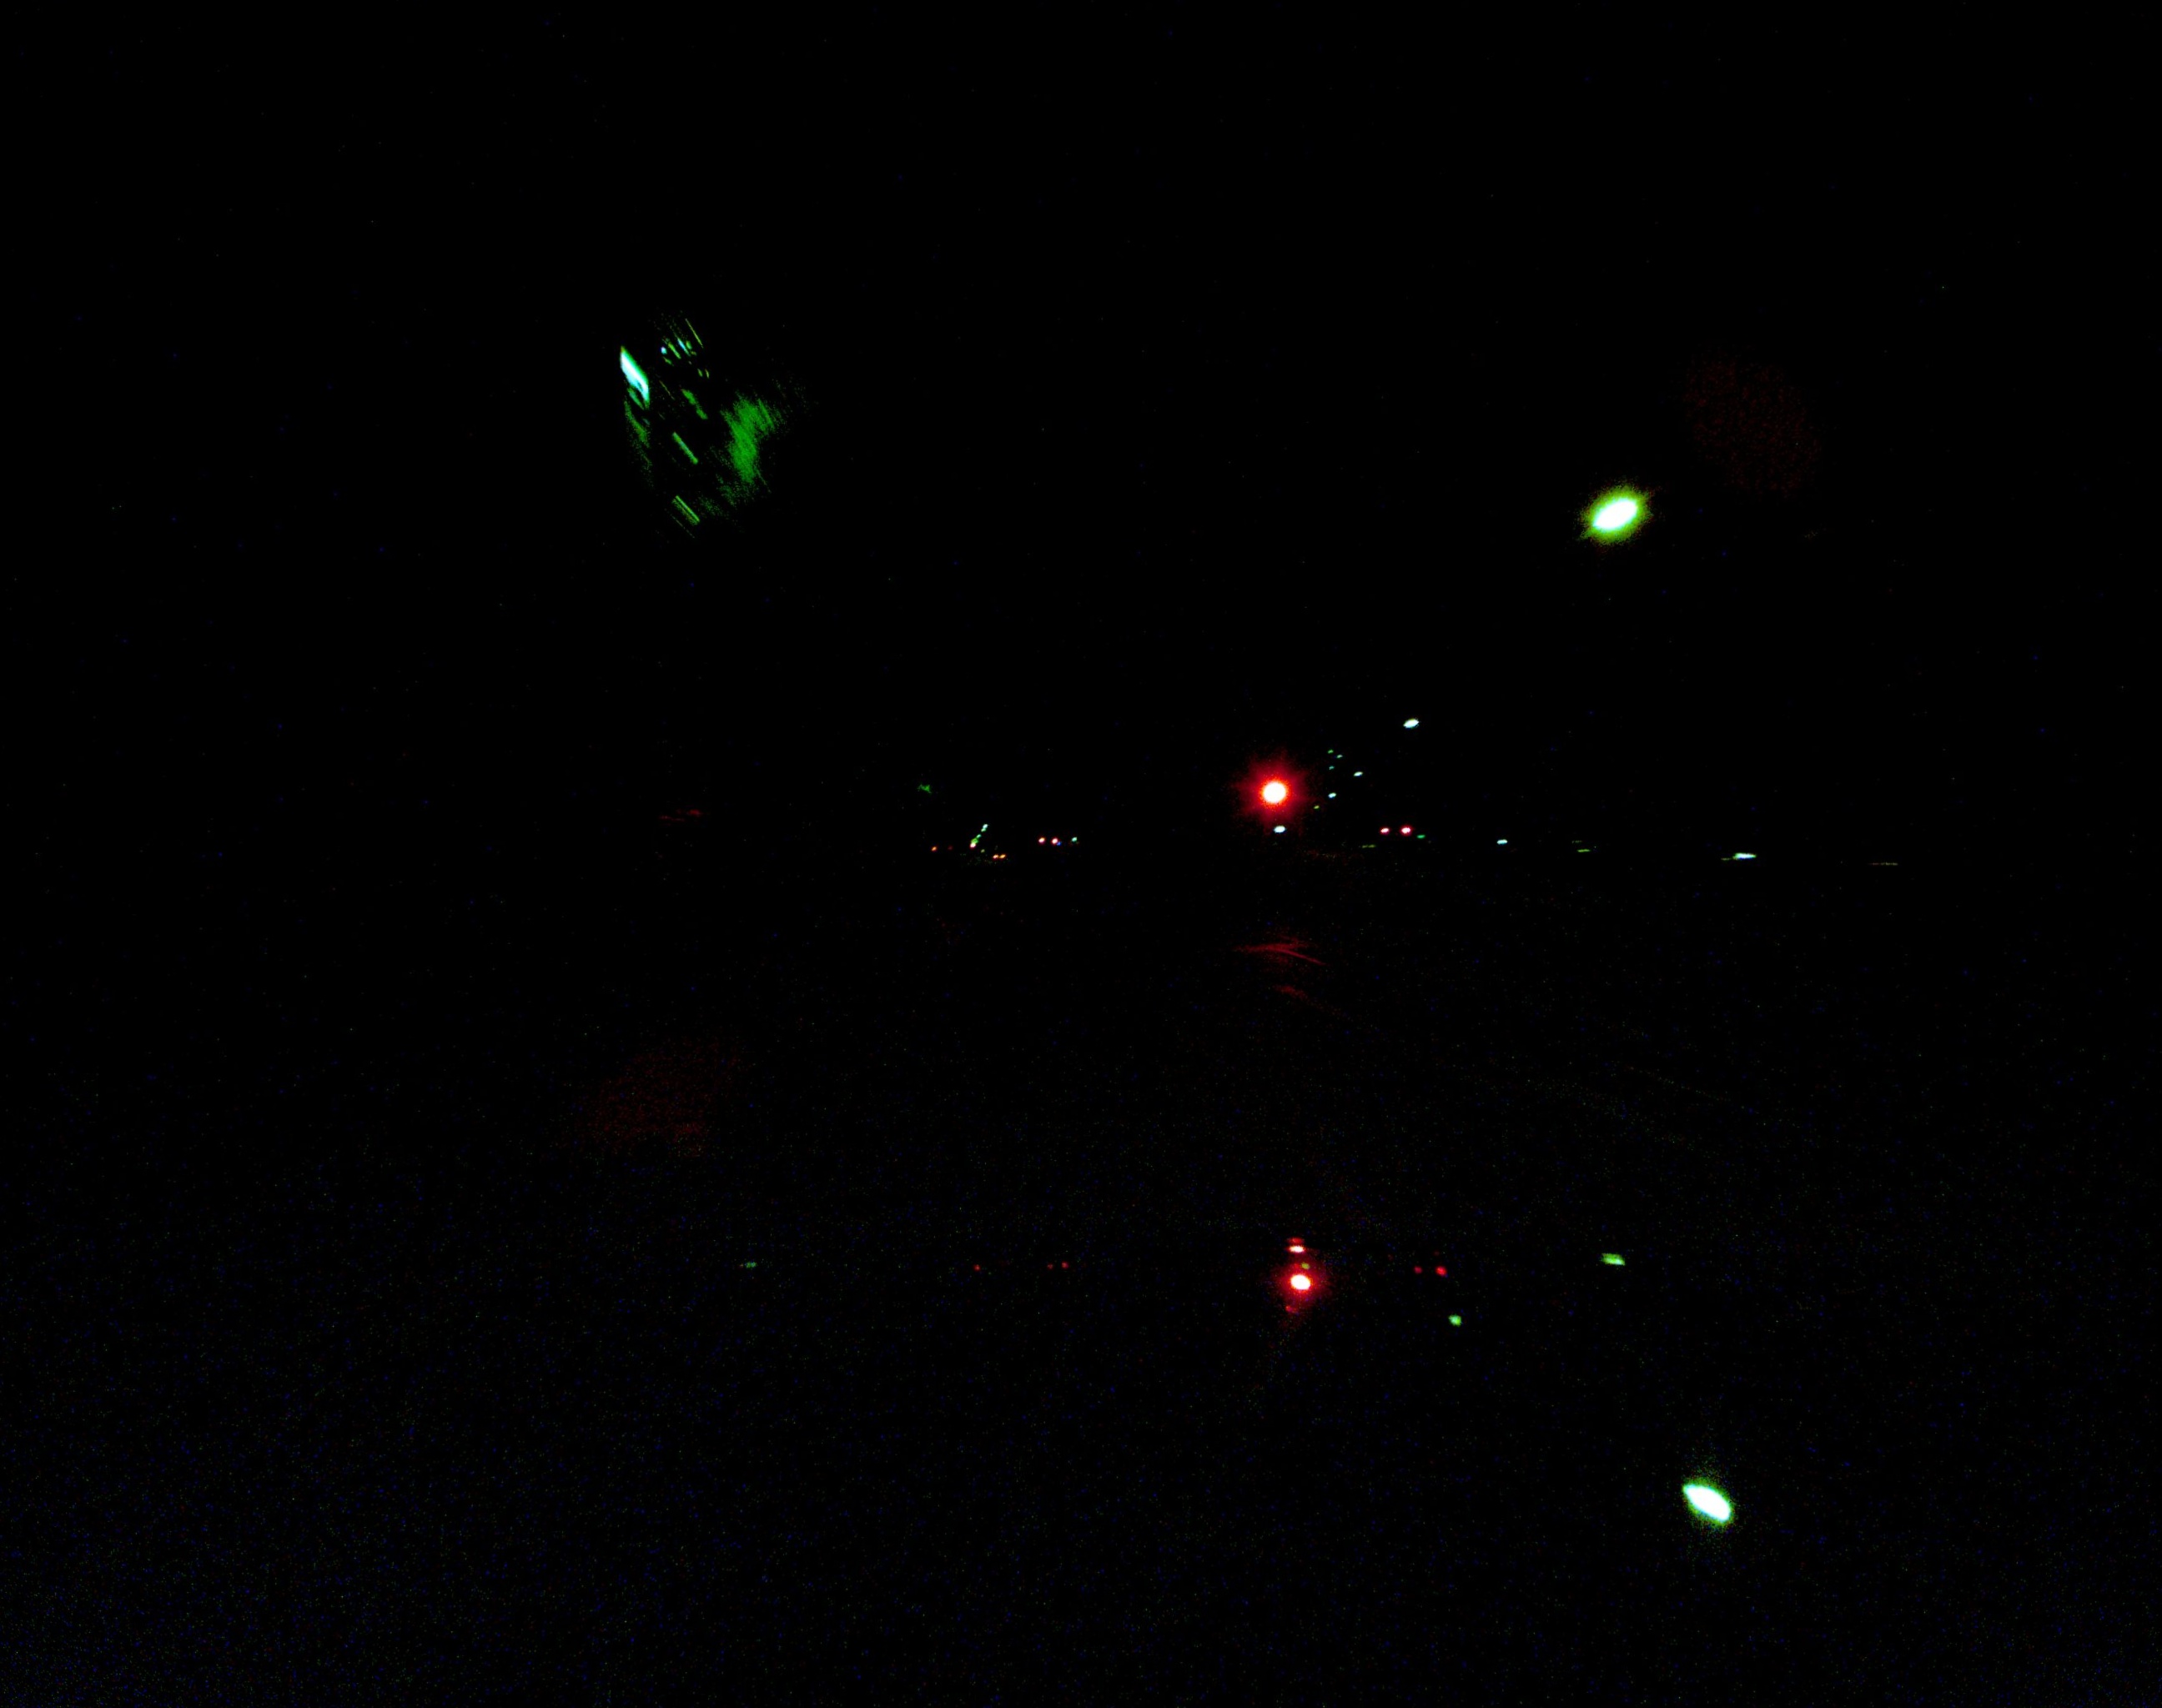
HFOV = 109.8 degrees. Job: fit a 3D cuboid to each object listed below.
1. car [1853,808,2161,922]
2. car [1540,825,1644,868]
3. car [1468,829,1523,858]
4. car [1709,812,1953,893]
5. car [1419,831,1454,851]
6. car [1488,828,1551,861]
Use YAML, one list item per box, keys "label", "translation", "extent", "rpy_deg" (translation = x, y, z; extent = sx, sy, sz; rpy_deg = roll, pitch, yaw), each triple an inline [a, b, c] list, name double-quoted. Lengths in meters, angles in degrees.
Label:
- label: "car"
  translation: [15.015, 0.091, 12.038]
  extent: [1.863, 1.425, 4.447]
  rpy_deg: [-4, 0, 15]
- label: "car"
  translation: [19.830, -0.309, 29.715]
  extent: [1.864, 1.425, 4.407]
  rpy_deg: [-4, 0, 13]
- label: "car"
  translation: [23.073, -0.602, 42.429]
  extent: [1.641, 1.425, 4.354]
  rpy_deg: [-5, 0, 15]
- label: "car"
  translation: [16.376, -0.069, 16.978]
  extent: [1.863, 1.470, 4.477]
  rpy_deg: [-3, 0, 15]
- label: "car"
  translation: [27.318, -0.984, 58.527]
  extent: [1.631, 1.455, 3.517]
  rpy_deg: [-2, 1, 11]
- label: "car"
  translation: [21.690, -0.479, 37.732]
  extent: [1.554, 1.425, 4.352]
  rpy_deg: [-5, 0, 15]
